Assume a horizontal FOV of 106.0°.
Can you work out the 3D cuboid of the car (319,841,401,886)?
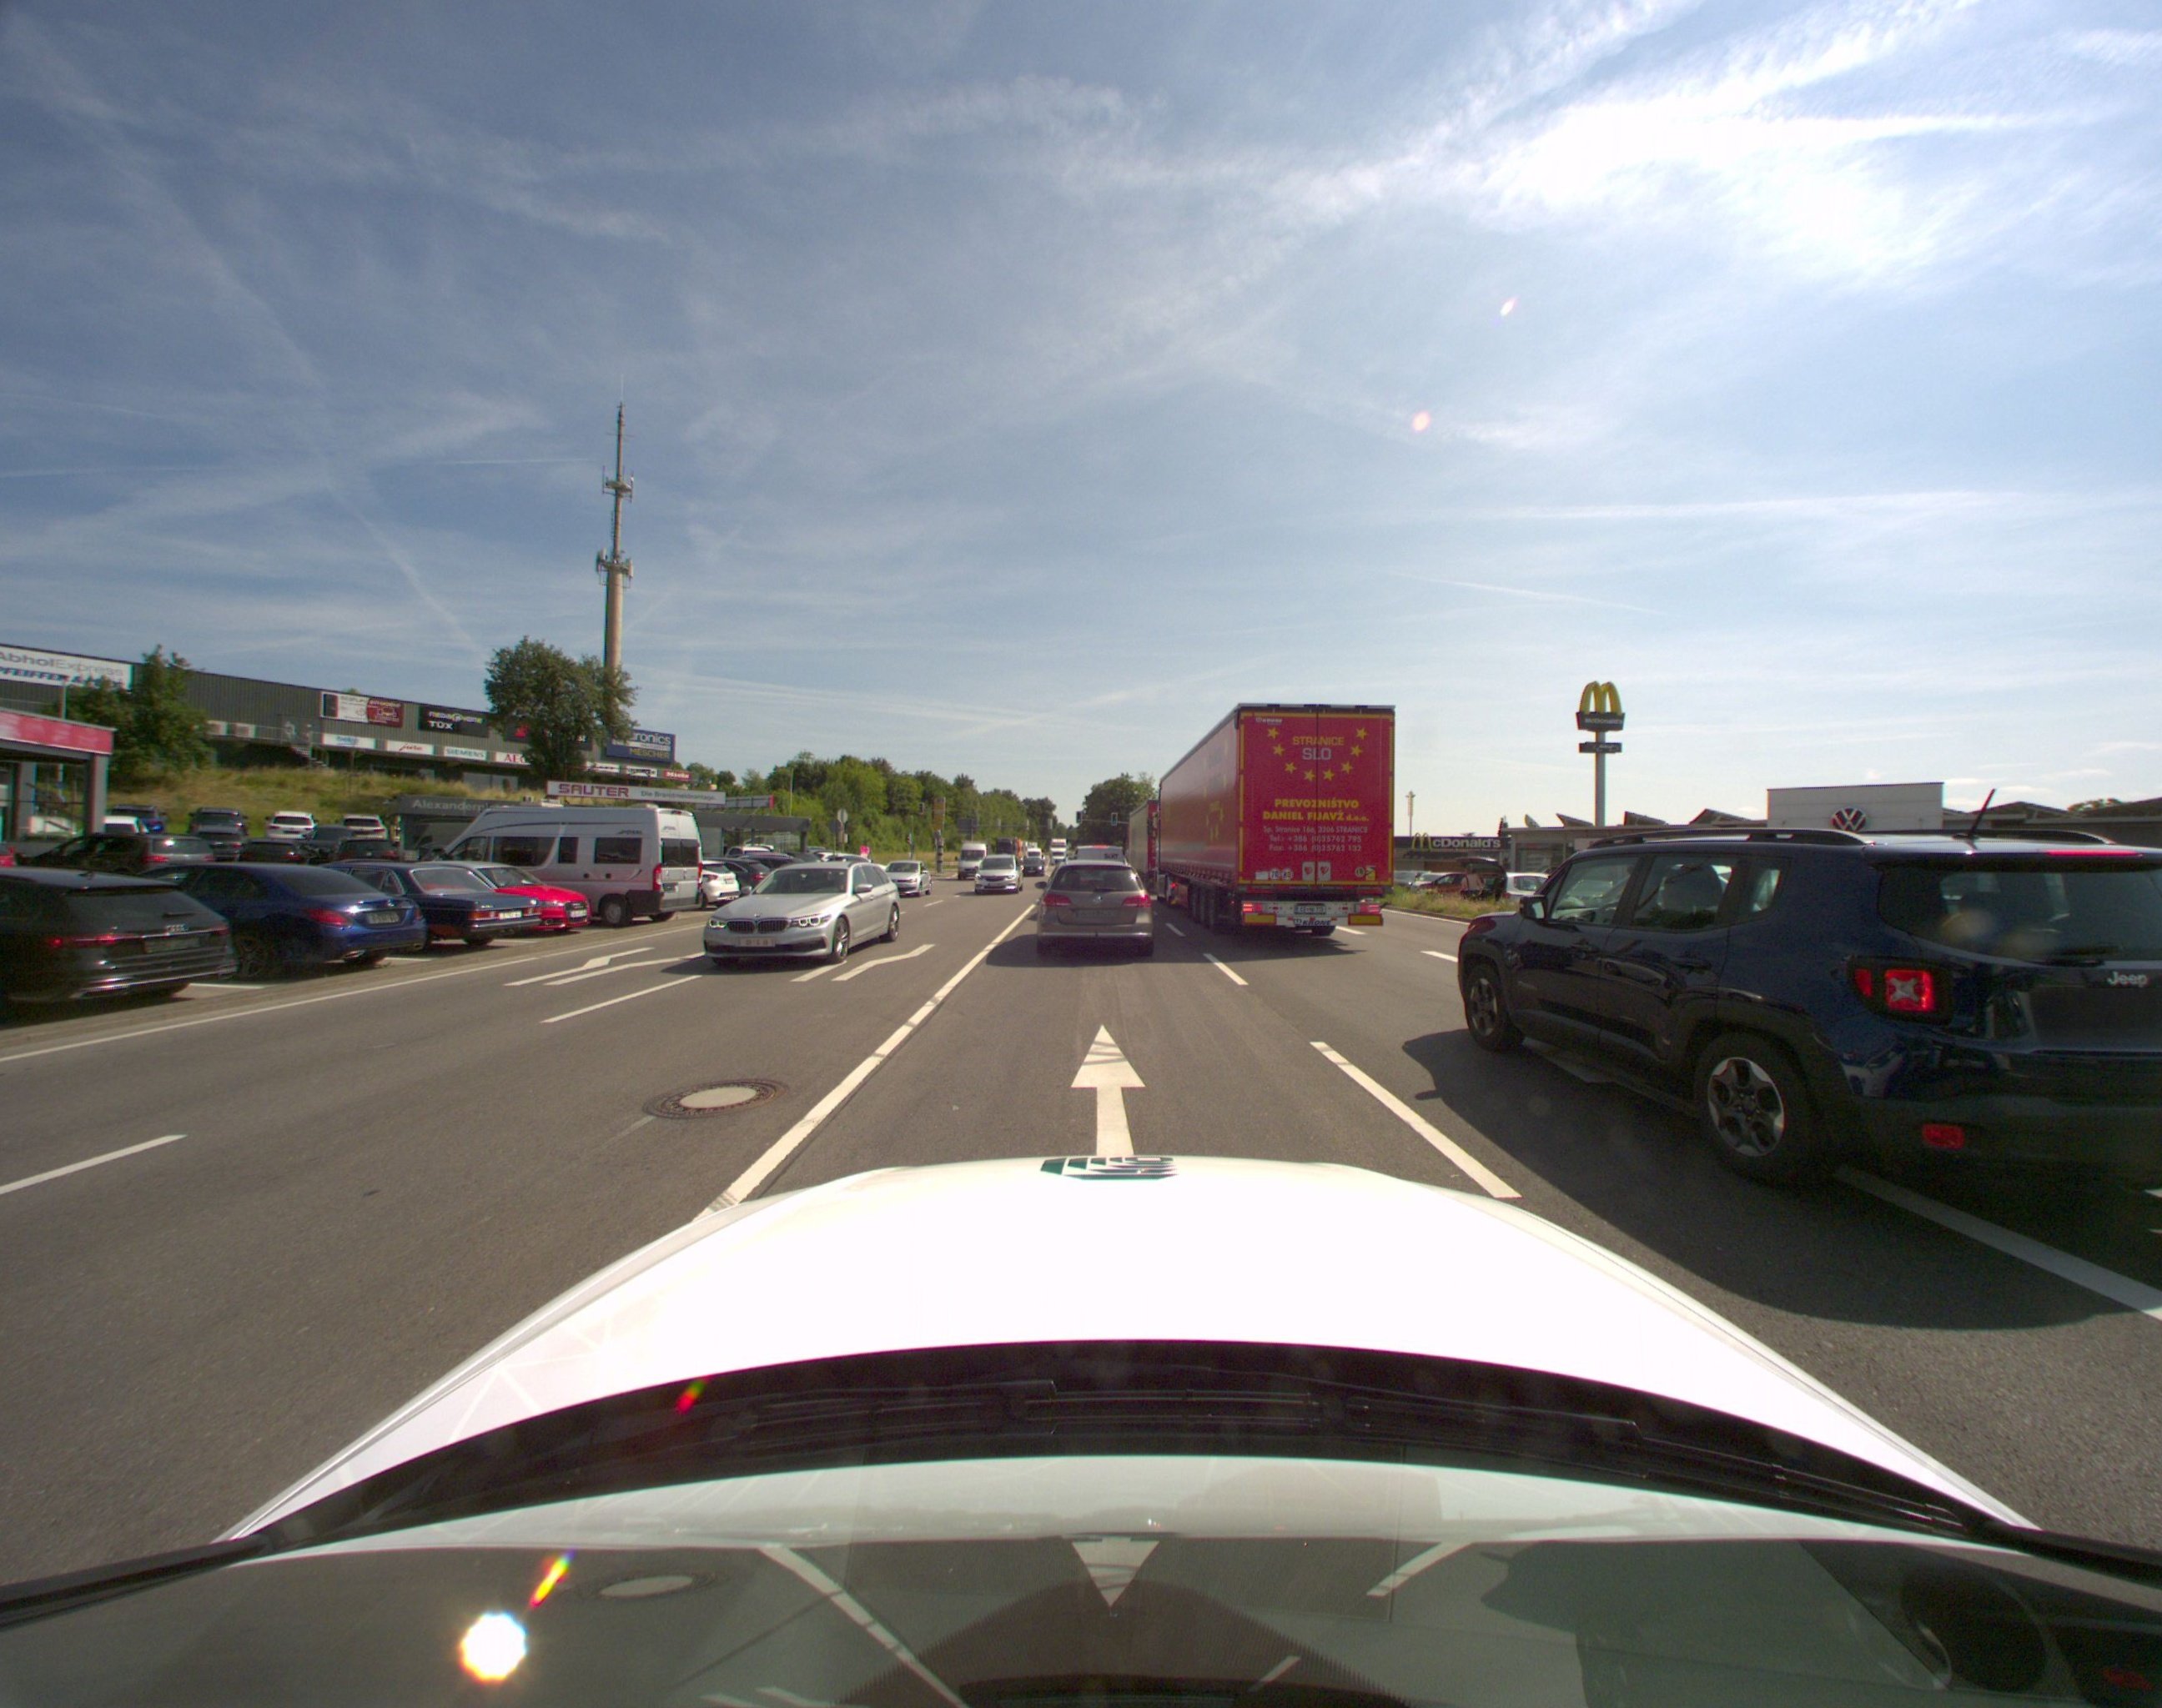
[{"bbox_3d":[-27.163,0.342,30.641,3.780,1.588,1.780,0,0,40],"label":"car"}]

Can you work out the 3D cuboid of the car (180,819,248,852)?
[{"bbox_3d":[-40.390,-0.822,38.025,1.745,1.450,3.705,1,-1,-41],"label":"car"}]

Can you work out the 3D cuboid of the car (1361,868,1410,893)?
[{"bbox_3d":[19.902,1.710,53.151,1.716,1.536,4.062,0,0,40],"label":"car"}]

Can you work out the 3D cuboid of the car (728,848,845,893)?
[{"bbox_3d":[-11.301,0.627,31.449,3.805,1.675,1.842,0,0,-1],"label":"car"}]

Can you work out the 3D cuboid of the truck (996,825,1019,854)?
[{"bbox_3d":[-9.967,-1.880,110.475,2.807,3.786,6.981,-1,0,-3],"label":"truck"}]

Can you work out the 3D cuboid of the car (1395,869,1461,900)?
[{"bbox_3d":[18.605,1.577,43.613,4.059,1.536,1.718,1,0,-42],"label":"car"}]

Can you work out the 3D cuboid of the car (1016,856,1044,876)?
[{"bbox_3d":[-3.799,0.909,61.225,1.660,1.409,3.927,-1,0,2],"label":"car"}]

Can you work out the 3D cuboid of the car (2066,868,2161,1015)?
[{"bbox_3d":[12.221,0.863,8.630,4.051,1.402,1.721,1,0,-31],"label":"car"}]

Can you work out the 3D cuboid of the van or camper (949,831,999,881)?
[{"bbox_3d":[-7.179,0.133,55.270,2.199,3.055,5.904,4,0,1],"label":"van or camper"}]

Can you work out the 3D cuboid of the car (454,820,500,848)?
[{"bbox_3d":[-33.125,-1.061,44.651,1.745,1.450,3.705,1,-1,-41],"label":"car"}]

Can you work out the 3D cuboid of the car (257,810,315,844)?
[{"bbox_3d":[-38.791,-1.277,39.816,1.745,1.537,3.705,1,-1,-41],"label":"car"}]

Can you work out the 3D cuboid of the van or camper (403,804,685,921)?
[{"bbox_3d":[-13.938,0.188,21.437,5.871,2.873,2.290,0,0,1],"label":"van or camper"}]

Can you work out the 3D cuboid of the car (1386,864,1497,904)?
[{"bbox_3d":[15.342,1.242,34.884,2.005,1.531,3.964,1,0,-28],"label":"car"}]

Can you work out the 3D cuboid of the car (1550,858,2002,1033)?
[{"bbox_3d":[7.092,0.796,8.962,1.652,1.472,4.002,0,0,2],"label":"car"}]

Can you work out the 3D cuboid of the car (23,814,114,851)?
[{"bbox_3d":[-43.614,-0.899,35.165,1.745,1.450,3.705,1,-1,-41],"label":"car"}]

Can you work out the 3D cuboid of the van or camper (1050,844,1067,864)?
[{"bbox_3d":[-3.288,0.102,119.424,2.217,2.841,5.710,1,-1,0],"label":"van or camper"}]

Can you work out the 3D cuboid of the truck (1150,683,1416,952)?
[{"bbox_3d":[3.934,-0.582,21.291,2.947,4.269,16.583,1,0,0],"label":"truck"}]

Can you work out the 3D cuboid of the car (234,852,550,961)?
[{"bbox_3d":[-11.407,0.832,13.695,3.697,1.484,1.707,4,0,-2],"label":"car"}]

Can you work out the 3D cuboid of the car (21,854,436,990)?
[{"bbox_3d":[-11.276,0.848,10.987,3.697,1.555,1.707,2,1,-1],"label":"car"}]

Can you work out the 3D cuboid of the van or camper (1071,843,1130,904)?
[{"bbox_3d":[0.607,0.610,27.375,1.846,1.906,3.784,1,0,0],"label":"van or camper"}]

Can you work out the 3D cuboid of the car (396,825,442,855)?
[{"bbox_3d":[-34.922,-0.692,42.918,1.745,1.450,3.705,1,-1,-41],"label":"car"}]

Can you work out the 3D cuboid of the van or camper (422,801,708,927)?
[{"bbox_3d":[-11.847,0.219,19.001,5.226,2.731,2.211,0,0,1],"label":"van or camper"}]

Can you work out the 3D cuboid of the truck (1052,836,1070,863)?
[{"bbox_3d":[-3.245,-0.729,134.264,2.544,4.307,7.595,-1,0,0],"label":"truck"}]

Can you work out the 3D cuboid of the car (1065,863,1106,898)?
[{"bbox_3d":[0.264,1.189,37.297,1.720,1.519,3.314,1,-1,3],"label":"car"}]

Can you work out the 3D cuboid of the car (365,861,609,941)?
[{"bbox_3d":[-11.866,0.899,16.455,3.581,1.480,1.813,-1,0,1],"label":"car"}]

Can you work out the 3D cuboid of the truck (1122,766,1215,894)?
[{"bbox_3d":[4.018,-0.982,41.962,3.052,5.220,17.006,1,0,0],"label":"truck"}]

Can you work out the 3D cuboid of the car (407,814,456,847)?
[{"bbox_3d":[-32.169,-1.118,40.291,1.745,1.450,3.705,1,-1,-41],"label":"car"}]

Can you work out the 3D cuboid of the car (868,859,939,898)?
[{"bbox_3d":[-6.997,0.921,32.547,1.830,1.448,4.082,0,0,2],"label":"car"}]

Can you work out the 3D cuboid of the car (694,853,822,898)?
[{"bbox_3d":[-11.461,0.731,29.088,3.805,1.539,1.842,0,0,-1],"label":"car"}]

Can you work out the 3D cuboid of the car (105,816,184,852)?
[{"bbox_3d":[-41.975,-0.861,36.575,1.745,1.450,3.705,1,-1,-41],"label":"car"}]

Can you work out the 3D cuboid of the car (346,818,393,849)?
[{"bbox_3d":[-36.396,-1.034,41.719,1.745,1.450,3.705,1,-1,-41],"label":"car"}]

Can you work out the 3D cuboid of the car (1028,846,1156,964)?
[{"bbox_3d":[0.268,0.719,13.115,1.782,1.638,3.507,0,0,4],"label":"car"}]

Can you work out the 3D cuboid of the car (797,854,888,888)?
[{"bbox_3d":[-12.679,0.868,43.245,4.470,1.693,2.145,0,0,32],"label":"car"}]

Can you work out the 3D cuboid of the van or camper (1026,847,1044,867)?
[{"bbox_3d":[-6.083,0.380,107.533,2.166,2.551,4.170,1,0,0],"label":"van or camper"}]

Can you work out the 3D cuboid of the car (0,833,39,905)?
[{"bbox_3d":[-25.753,0.344,17.443,3.832,1.588,1.756,0,0,-23],"label":"car"}]

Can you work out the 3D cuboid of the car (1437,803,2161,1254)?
[{"bbox_3d":[3.943,0.653,5.051,1.812,1.685,4.002,-1,0,2],"label":"car"}]

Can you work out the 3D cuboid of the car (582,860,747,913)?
[{"bbox_3d":[-12.009,0.927,23.673,3.805,1.448,1.842,0,0,-1],"label":"car"}]

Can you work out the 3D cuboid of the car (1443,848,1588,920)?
[{"bbox_3d":[12.427,0.807,23.296,3.852,1.921,1.689,1,0,-25],"label":"car"}]

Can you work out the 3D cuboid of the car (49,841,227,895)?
[{"bbox_3d":[-28.821,0.427,24.948,3.795,1.588,1.773,0,0,8],"label":"car"}]

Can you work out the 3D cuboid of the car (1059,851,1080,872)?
[{"bbox_3d":[-1.113,0.741,77.952,1.719,1.909,3.315,1,-1,4],"label":"car"}]

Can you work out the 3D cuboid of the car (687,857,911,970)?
[{"bbox_3d":[-4.340,0.815,13.462,1.902,1.521,4.783,0,0,2],"label":"car"}]

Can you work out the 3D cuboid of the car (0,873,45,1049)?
[{"bbox_3d":[-11.483,0.789,6.293,4.446,1.484,1.771,4,0,-2],"label":"car"}]

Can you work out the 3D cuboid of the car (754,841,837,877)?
[{"bbox_3d":[-14.232,0.236,40.617,3.780,1.693,1.854,0,0,29],"label":"car"}]

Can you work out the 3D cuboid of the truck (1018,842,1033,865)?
[{"bbox_3d":[-9.837,-0.082,144.408,2.528,3.786,6.981,-1,0,-3],"label":"truck"}]

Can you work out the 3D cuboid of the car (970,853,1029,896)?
[{"bbox_3d":[-3.411,0.831,34.740,1.902,1.663,4.182,-1,0,2],"label":"car"}]

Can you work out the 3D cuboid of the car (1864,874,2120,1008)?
[{"bbox_3d":[12.923,1.082,11.505,4.051,1.536,1.721,1,0,-31],"label":"car"}]

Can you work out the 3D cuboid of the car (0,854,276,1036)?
[{"bbox_3d":[-11.249,0.824,8.440,3.833,1.484,1.801,4,0,-2],"label":"car"}]

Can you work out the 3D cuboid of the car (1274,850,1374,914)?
[{"bbox_3d":[6.939,0.749,23.649,1.812,1.685,4.002,-1,0,2],"label":"car"}]

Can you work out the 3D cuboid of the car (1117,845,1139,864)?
[{"bbox_3d":[4.001,0.047,69.838,1.721,1.519,3.311,1,-1,0],"label":"car"}]

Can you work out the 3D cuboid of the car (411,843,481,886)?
[{"bbox_3d":[-24.599,0.382,31.655,1.775,1.588,3.790,0,0,-33],"label":"car"}]

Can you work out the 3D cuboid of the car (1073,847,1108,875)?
[{"bbox_3d":[0.558,0.400,45.602,1.719,1.519,3.315,1,-1,4],"label":"car"}]

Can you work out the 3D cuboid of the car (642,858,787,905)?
[{"bbox_3d":[-11.766,0.862,26.317,3.805,1.448,1.842,0,0,-1],"label":"car"}]
